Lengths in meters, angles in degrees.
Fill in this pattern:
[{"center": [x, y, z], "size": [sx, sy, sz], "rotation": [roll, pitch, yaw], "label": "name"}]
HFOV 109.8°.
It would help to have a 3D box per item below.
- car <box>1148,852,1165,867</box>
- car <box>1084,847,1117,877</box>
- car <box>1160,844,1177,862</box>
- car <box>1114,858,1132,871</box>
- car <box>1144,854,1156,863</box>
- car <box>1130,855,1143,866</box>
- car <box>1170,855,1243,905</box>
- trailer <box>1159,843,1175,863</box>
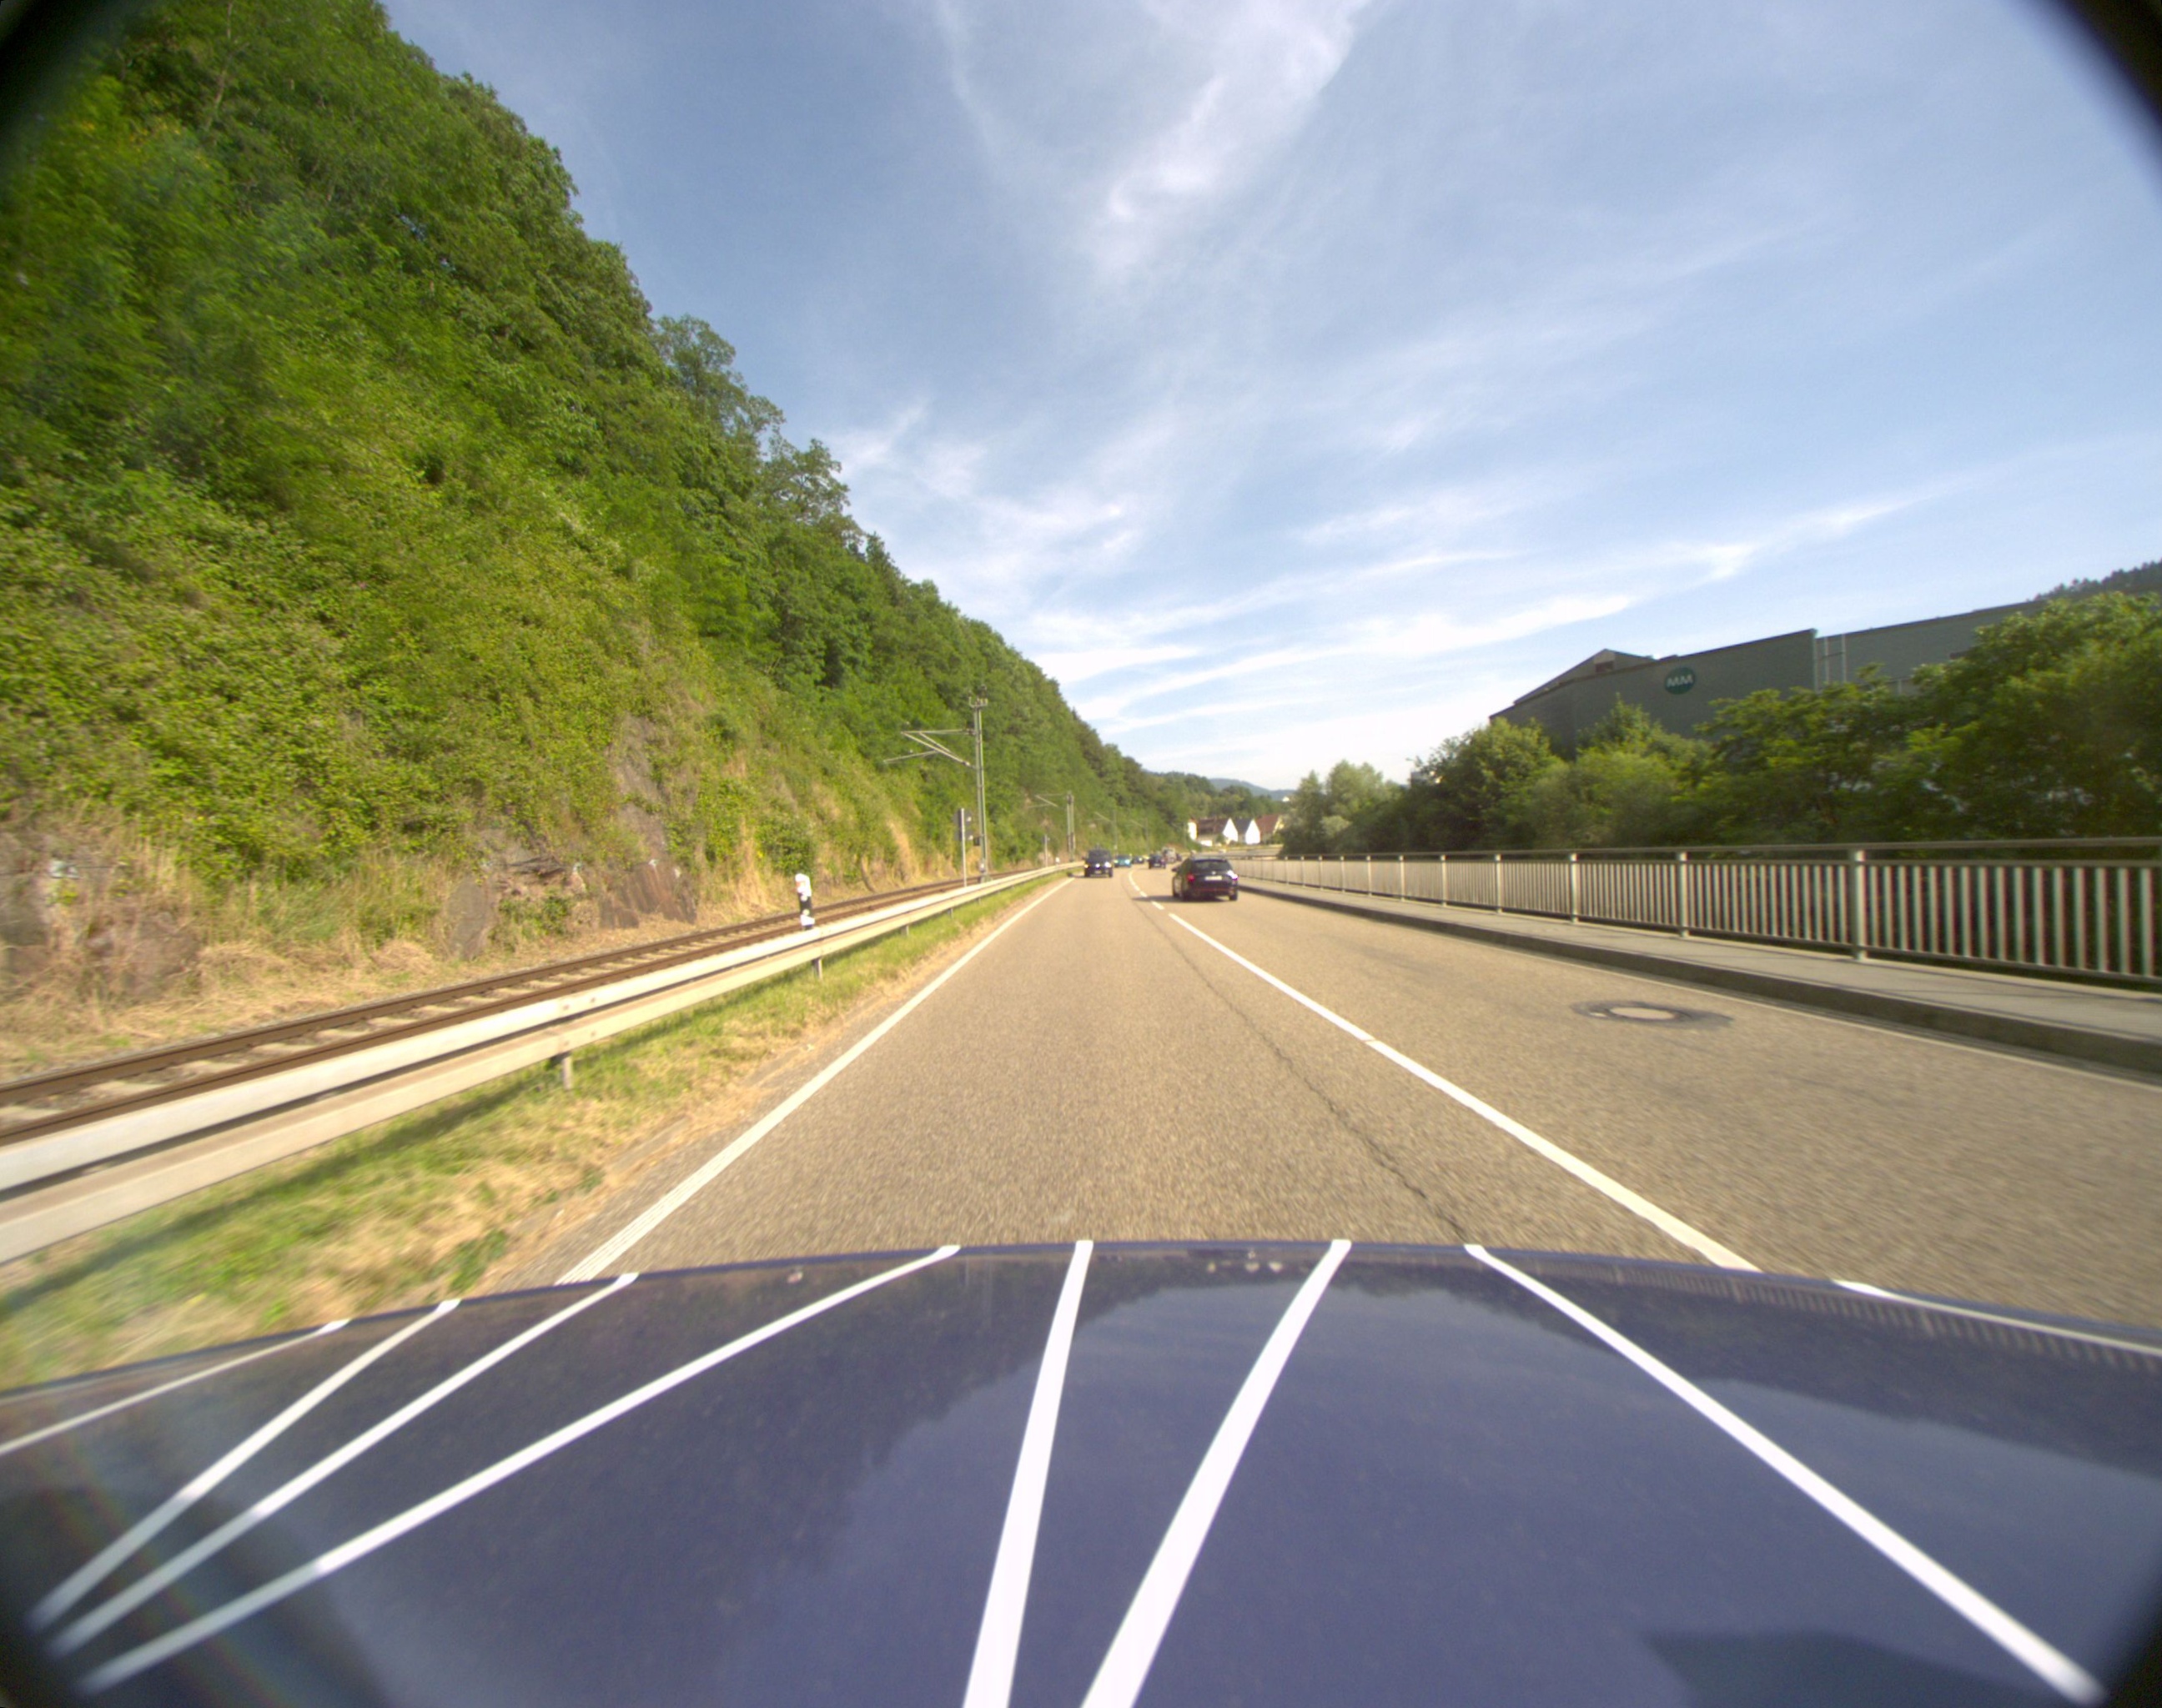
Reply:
[{"center": [7.882, 0.566, 78.933], "size": [1.706, 1.423, 4.076], "rotation": [-1, 1, 6], "label": "car"}, {"center": [1.398, 0.562, 52.130], "size": [1.908, 1.868, 4.350], "rotation": [-2, -1, 5], "label": "car"}, {"center": [13.155, -0.152, 113.745], "size": [2.162, 2.517, 6.582], "rotation": [-1, 0, 9], "label": "car"}, {"center": [4.823, 1.171, 86.946], "size": [1.749, 1.424, 3.333], "rotation": [1, 1, 7], "label": "car"}, {"center": [11.715, 0.804, 128.217], "size": [1.763, 1.304, 3.751], "rotation": [-4, 0, 8], "label": "car"}, {"center": [8.021, 0.939, 109.477], "size": [1.651, 1.424, 3.333], "rotation": [1, 1, 7], "label": "car"}, {"center": [4.045, 0.794, 25.075], "size": [1.724, 1.427, 4.340], "rotation": [-1, 0, 1], "label": "car"}, {"center": [12.238, -0.182, 107.861], "size": [2.125, 2.700, 5.351], "rotation": [-1, 1, 9], "label": "trailer"}]
